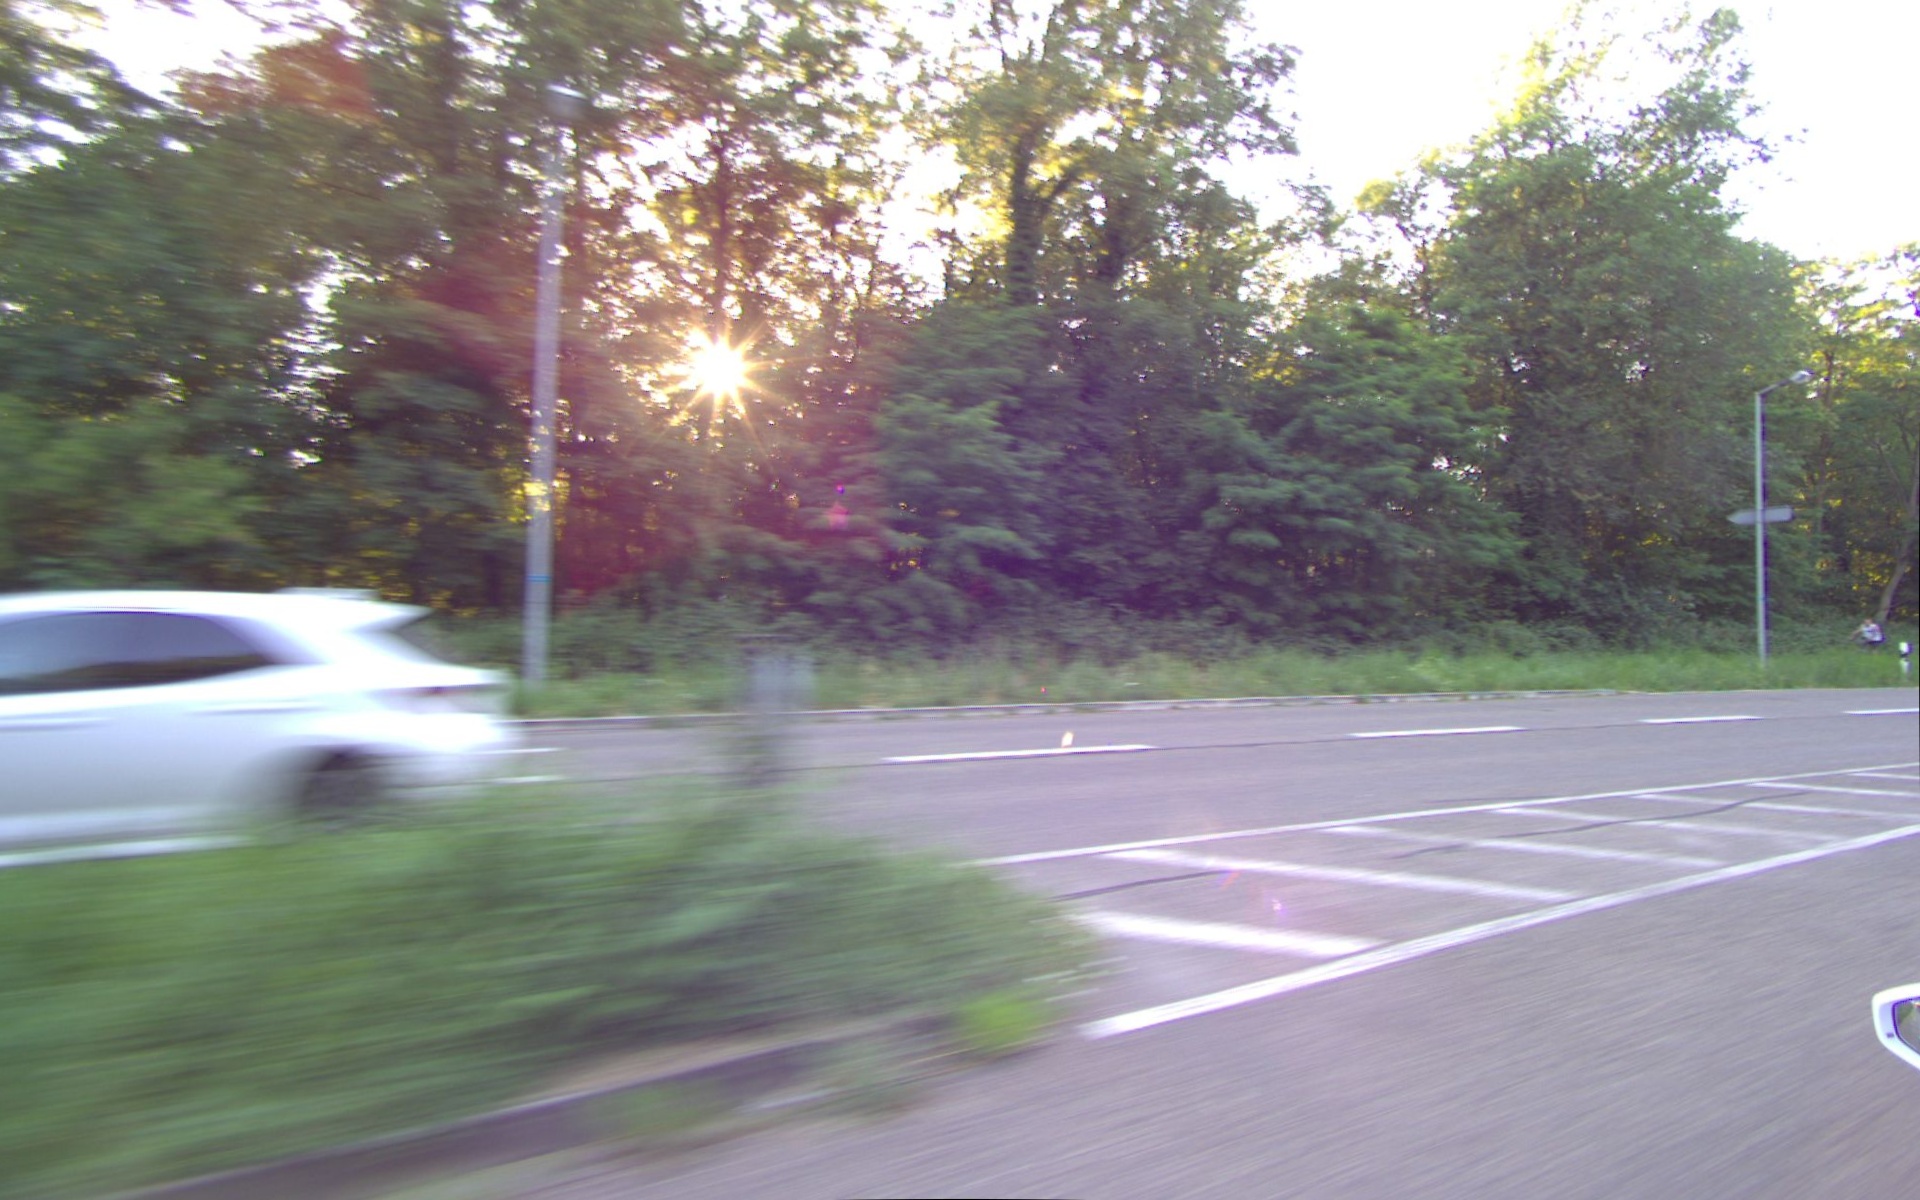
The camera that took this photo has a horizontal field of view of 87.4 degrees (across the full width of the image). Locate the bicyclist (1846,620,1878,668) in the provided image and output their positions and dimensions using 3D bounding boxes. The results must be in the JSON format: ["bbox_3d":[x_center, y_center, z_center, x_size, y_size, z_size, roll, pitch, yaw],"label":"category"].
[{"bbox_3d":[29.629,1.424,32.987,0.839,1.531,0.616,0,0,-35],"label":"bicyclist"}]

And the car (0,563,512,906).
[{"bbox_3d":[-4.594,0.614,5.346,3.889,1.527,1.829,3,-2,-28],"label":"car"}]

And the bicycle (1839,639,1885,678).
[{"bbox_3d":[29.643,1.903,32.994,2.238,1.234,0.626,1,-1,-35],"label":"bicycle"}]
